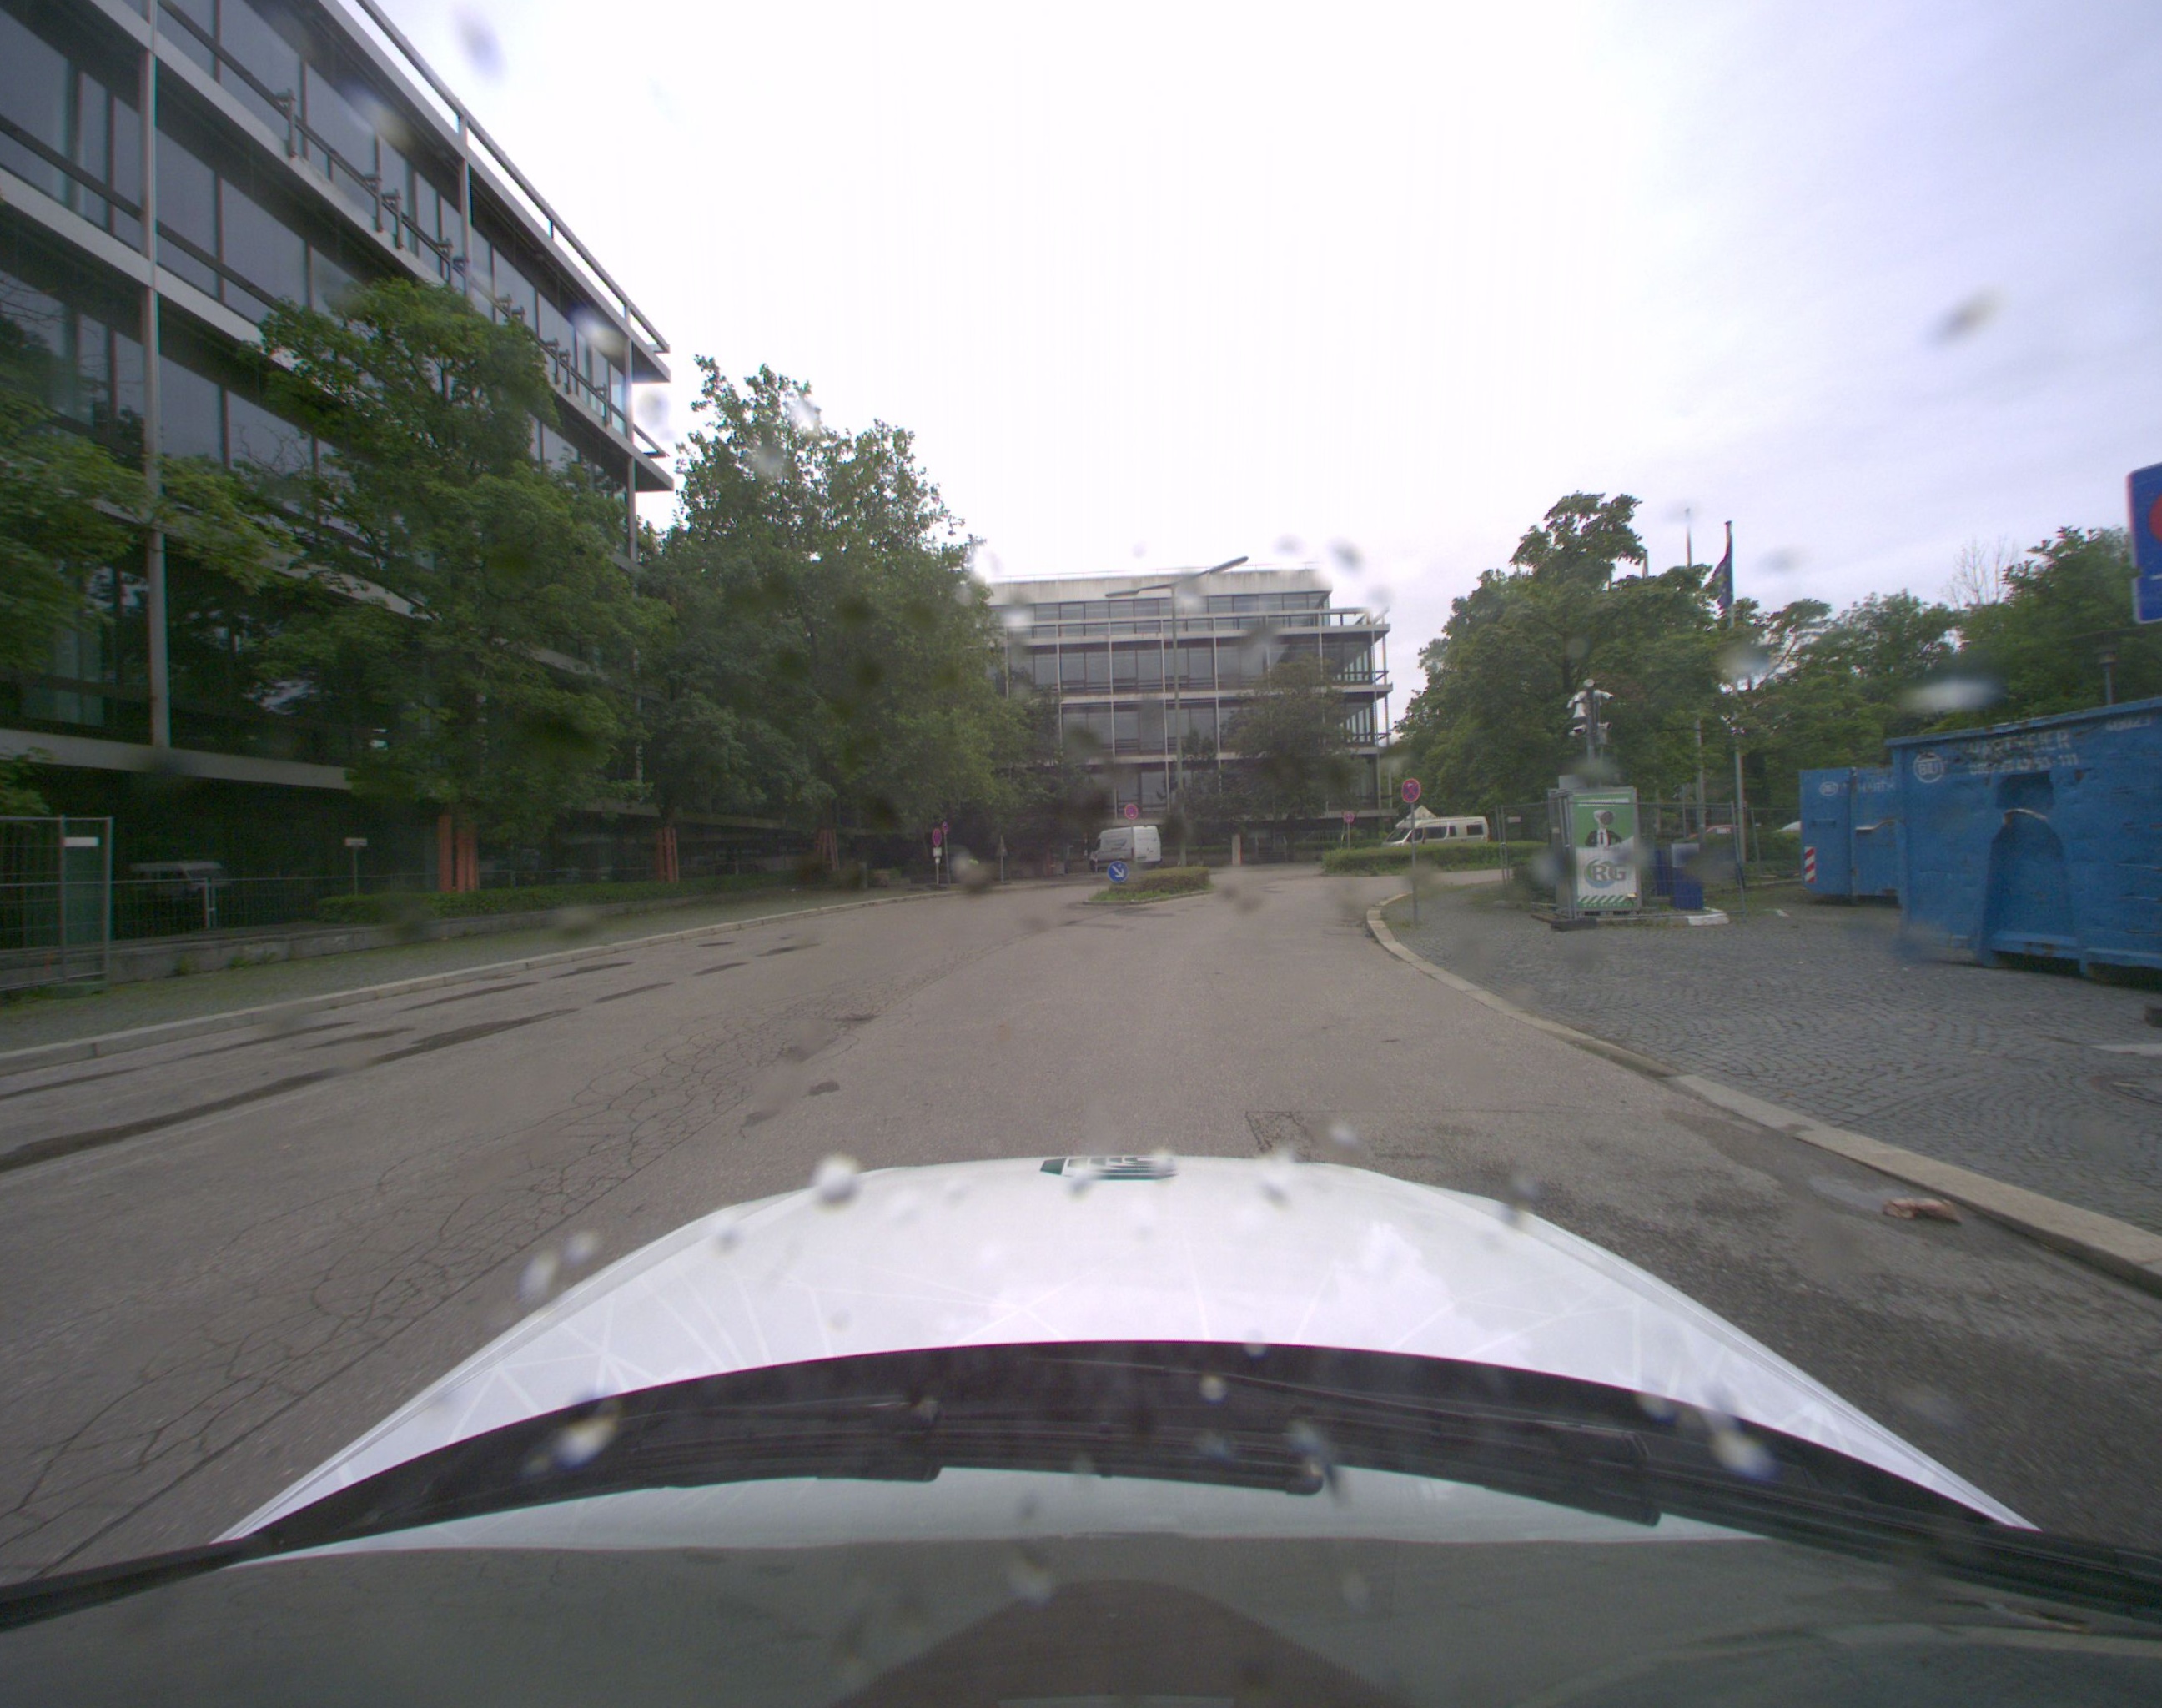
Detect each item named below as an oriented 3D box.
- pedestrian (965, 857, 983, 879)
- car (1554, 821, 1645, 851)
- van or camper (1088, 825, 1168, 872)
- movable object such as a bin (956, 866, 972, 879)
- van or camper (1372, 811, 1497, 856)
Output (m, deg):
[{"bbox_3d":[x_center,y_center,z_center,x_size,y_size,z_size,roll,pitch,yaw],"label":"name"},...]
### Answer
[{"bbox_3d":[-6.347,0.825,48.138,0.922,1.278,0.542,-2,0,4],"label":"pedestrian"},{"bbox_3d":[30.077,-1.019,47.306,3.970,1.508,2.002,-3,0,3],"label":"car"},{"bbox_3d":[2.762,-0.264,50.036,2.165,2.580,6.487,-2,-2,-23],"label":"van or camper"},{"bbox_3d":[-6.905,1.093,48.117,0.830,0.753,0.573,-2,0,4],"label":"movable object such as a bin"},{"bbox_3d":[20.190,-1.161,46.570,6.403,2.281,2.246,-2,0,-12],"label":"van or camper"}]
